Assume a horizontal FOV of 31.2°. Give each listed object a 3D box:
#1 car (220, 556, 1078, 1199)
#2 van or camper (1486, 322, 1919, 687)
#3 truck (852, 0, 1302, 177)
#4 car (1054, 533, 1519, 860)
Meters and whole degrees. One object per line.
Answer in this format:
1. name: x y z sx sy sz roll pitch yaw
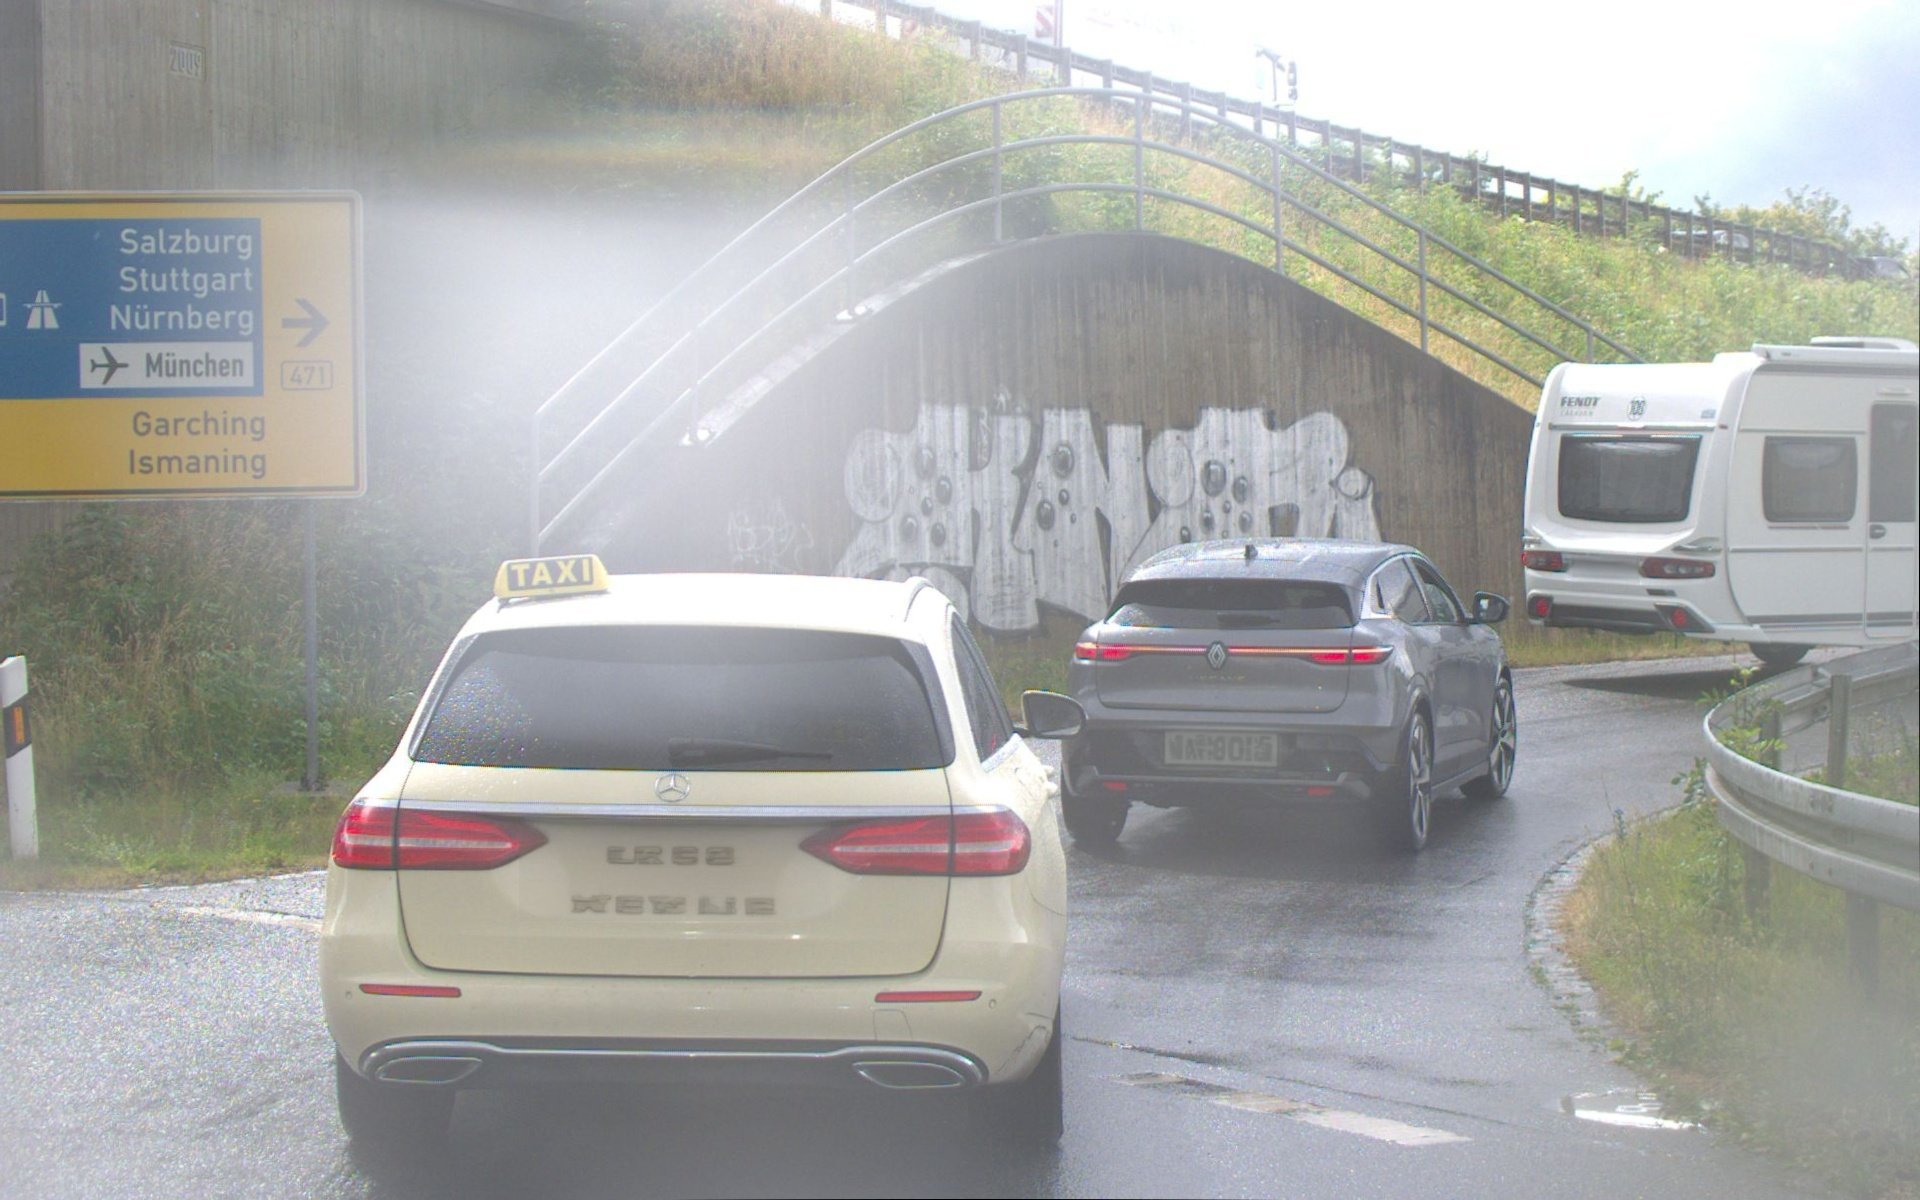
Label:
1. car: -0.619 0.629 9.958 1.916 1.502 4.596 0 1 2
2. van or camper: 7.414 -0.842 28.240 5.982 2.720 2.439 -2 3 -33
3. truck: 1.990 -8.842 51.569 3.185 3.952 9.224 1 1 26
4. car: 1.832 0.424 18.098 1.719 1.519 3.997 0 1 16
